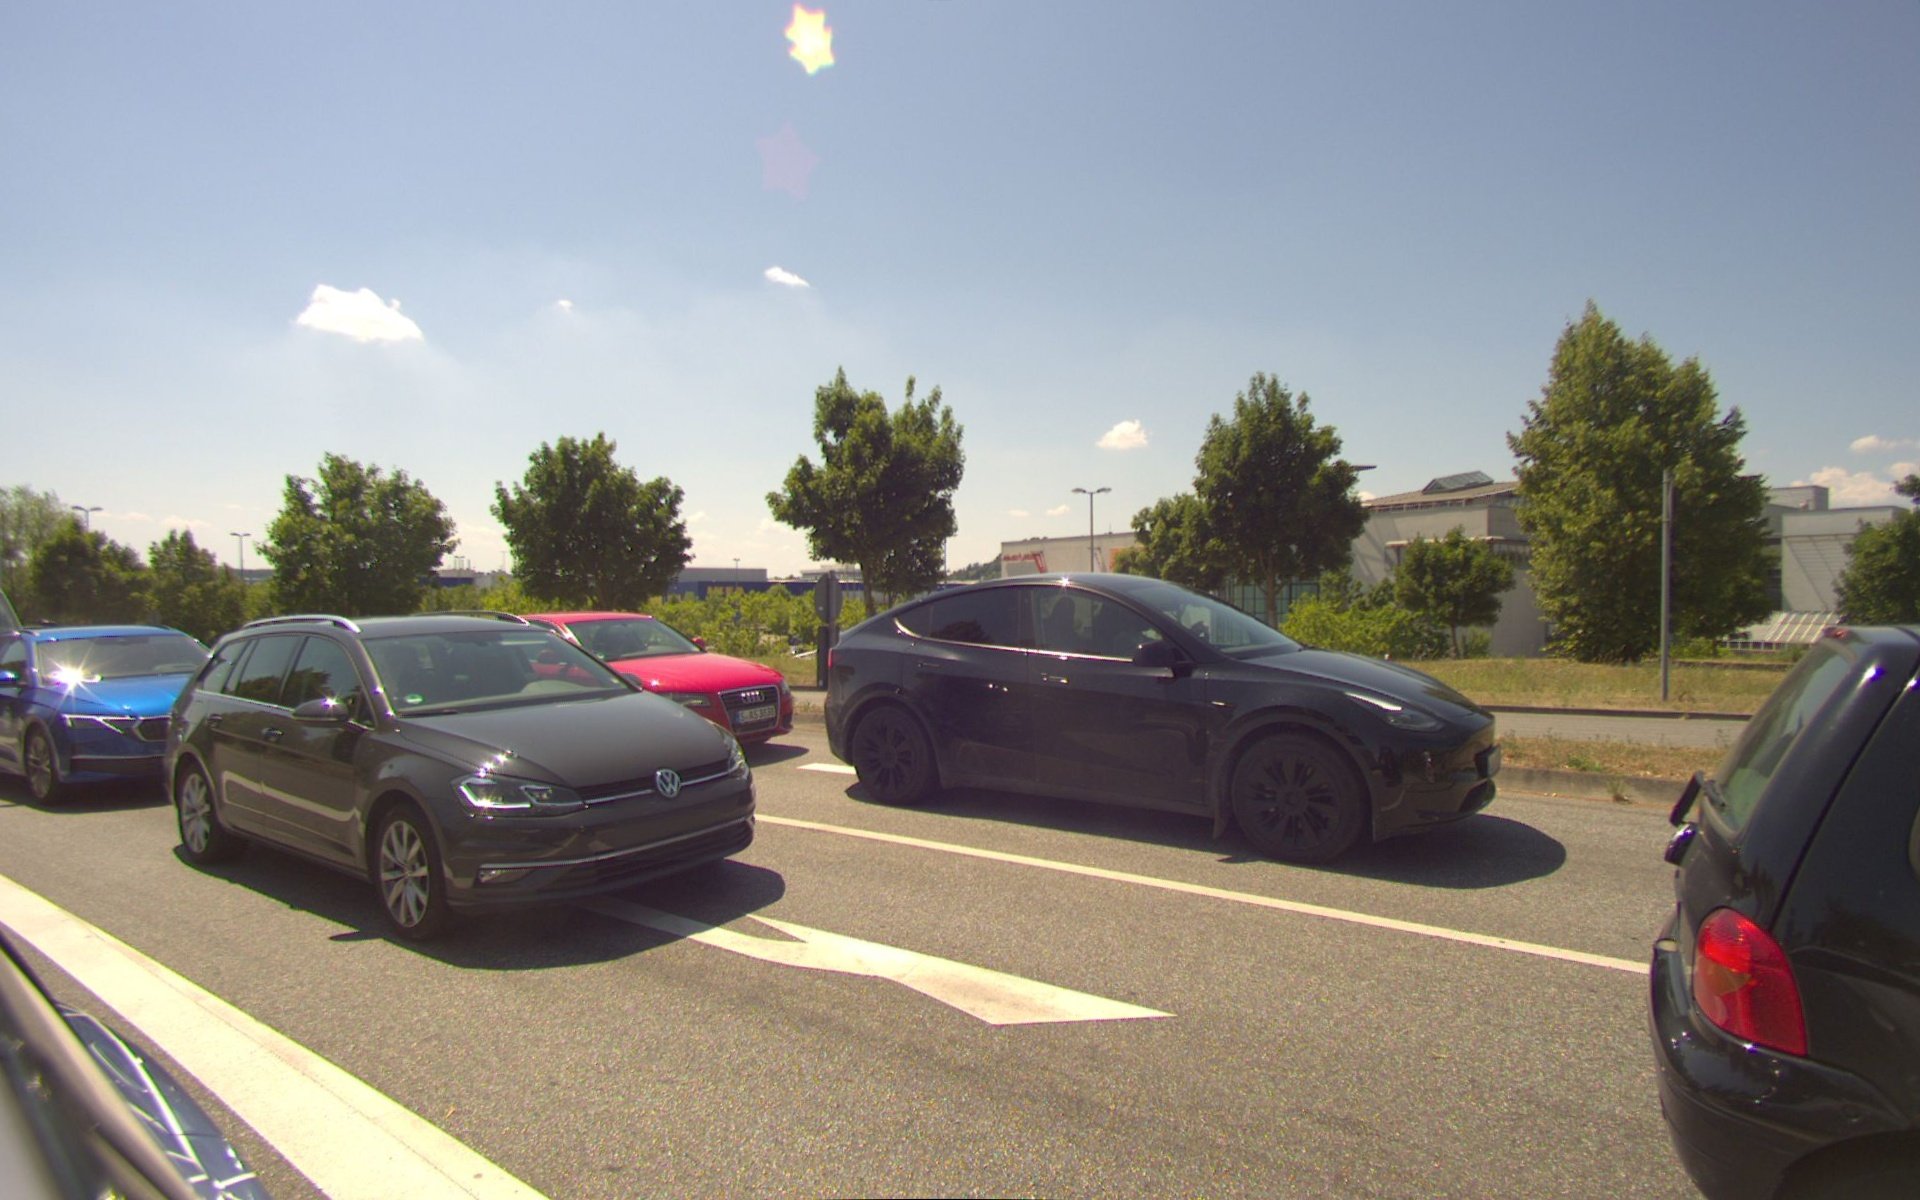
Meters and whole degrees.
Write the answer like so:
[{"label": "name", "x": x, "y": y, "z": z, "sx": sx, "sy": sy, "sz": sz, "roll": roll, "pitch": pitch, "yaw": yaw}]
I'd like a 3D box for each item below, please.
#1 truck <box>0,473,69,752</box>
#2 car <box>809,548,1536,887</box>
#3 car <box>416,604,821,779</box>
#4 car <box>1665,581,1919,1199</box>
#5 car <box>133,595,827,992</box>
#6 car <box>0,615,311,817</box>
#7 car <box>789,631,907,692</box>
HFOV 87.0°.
[{"label": "truck", "x": -14.954, "y": 0.306, "z": 13.623, "sx": 7.176, "sy": 3.373, "sz": 2.390, "roll": -3, "pitch": -1, "yaw": 31}, {"label": "car", "x": 1.249, "y": 0.584, "z": 6.909, "sx": 4.496, "sy": 1.613, "sz": 1.858, "roll": -1, "pitch": 0, "yaw": 36}, {"label": "car", "x": -3.620, "y": 0.792, "z": 10.360, "sx": 4.440, "sy": 1.399, "sz": 1.646, "roll": -1, "pitch": 1, "yaw": 36}, {"label": "car", "x": 3.011, "y": 0.664, "z": 1.386, "sx": 3.295, "sy": 1.418, "sz": 1.604, "roll": -1, "pitch": -1, "yaw": 37}, {"label": "car", "x": -2.991, "y": 0.770, "z": 5.868, "sx": 4.421, "sy": 1.493, "sz": 1.762, "roll": -1, "pitch": 0, "yaw": 37}, {"label": "car", "x": -8.174, "y": 0.961, "z": 9.529, "sx": 4.474, "sy": 1.473, "sz": 1.695, "roll": -2, "pitch": 0, "yaw": 32}, {"label": "car", "x": -3.929, "y": 2.158, "z": 36.012, "sx": 3.944, "sy": 1.975, "sz": 2.000, "roll": -1, "pitch": 0, "yaw": 1}]
